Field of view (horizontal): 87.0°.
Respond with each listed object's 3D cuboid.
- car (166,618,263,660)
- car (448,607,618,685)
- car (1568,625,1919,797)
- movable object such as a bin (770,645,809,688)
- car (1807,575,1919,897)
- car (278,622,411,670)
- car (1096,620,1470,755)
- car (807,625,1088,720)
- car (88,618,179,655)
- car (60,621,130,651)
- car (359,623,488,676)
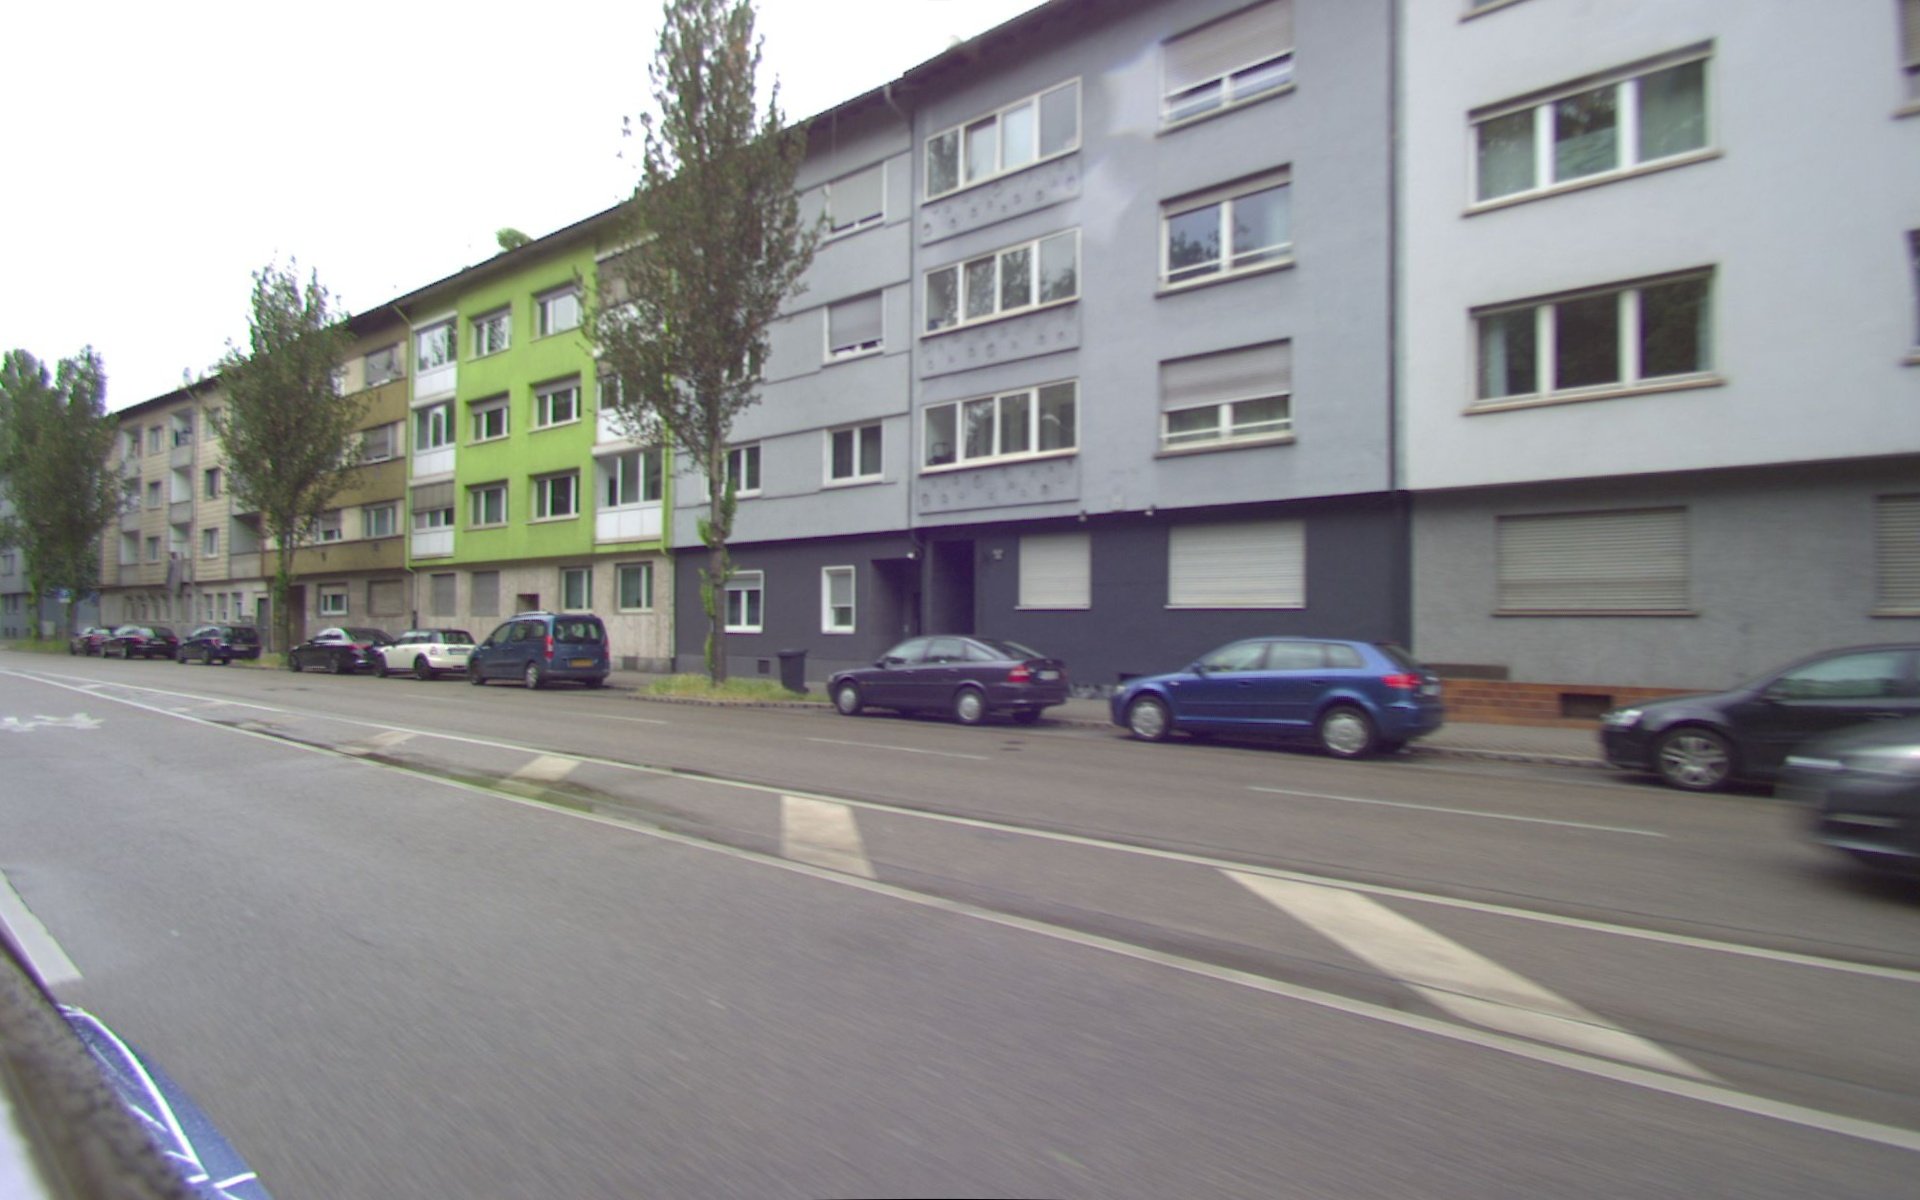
[{"bbox_3d":[-28.593,1.490,38.774,4.506,1.500,1.702,-1,-4,37],"label":"car"},{"bbox_3d":[-10.639,1.107,25.078,4.595,1.780,1.872,-1,-3,39],"label":"car"},{"bbox_3d":[8.276,0.987,9.393,4.318,1.436,1.695,-1,-4,39],"label":"car"},{"bbox_3d":[-3.379,1.319,20.056,0.609,0.823,0.465,-1,-3,38],"label":"movable object such as a bin"},{"bbox_3d":[6.628,0.649,4.230,4.643,1.515,1.770,-1,-3,38],"label":"car"},{"bbox_3d":[-19.231,1.423,31.565,4.670,1.383,1.801,-1,-4,36],"label":"car"},{"bbox_3d":[4.016,1.038,12.966,4.271,1.460,1.664,-1,-5,39],"label":"car"},{"bbox_3d":[-0.300,1.141,16.657,4.573,1.368,1.672,-1,-5,39],"label":"car"},{"bbox_3d":[-35.861,1.580,43.877,4.779,1.500,1.801,-1,-4,35],"label":"car"},{"bbox_3d":[-40.775,1.692,47.706,3.981,1.397,1.611,-1,-3,36],"label":"car"},{"bbox_3d":[-15.191,1.383,28.607,3.994,1.386,1.664,-1,-4,37],"label":"car"}]
